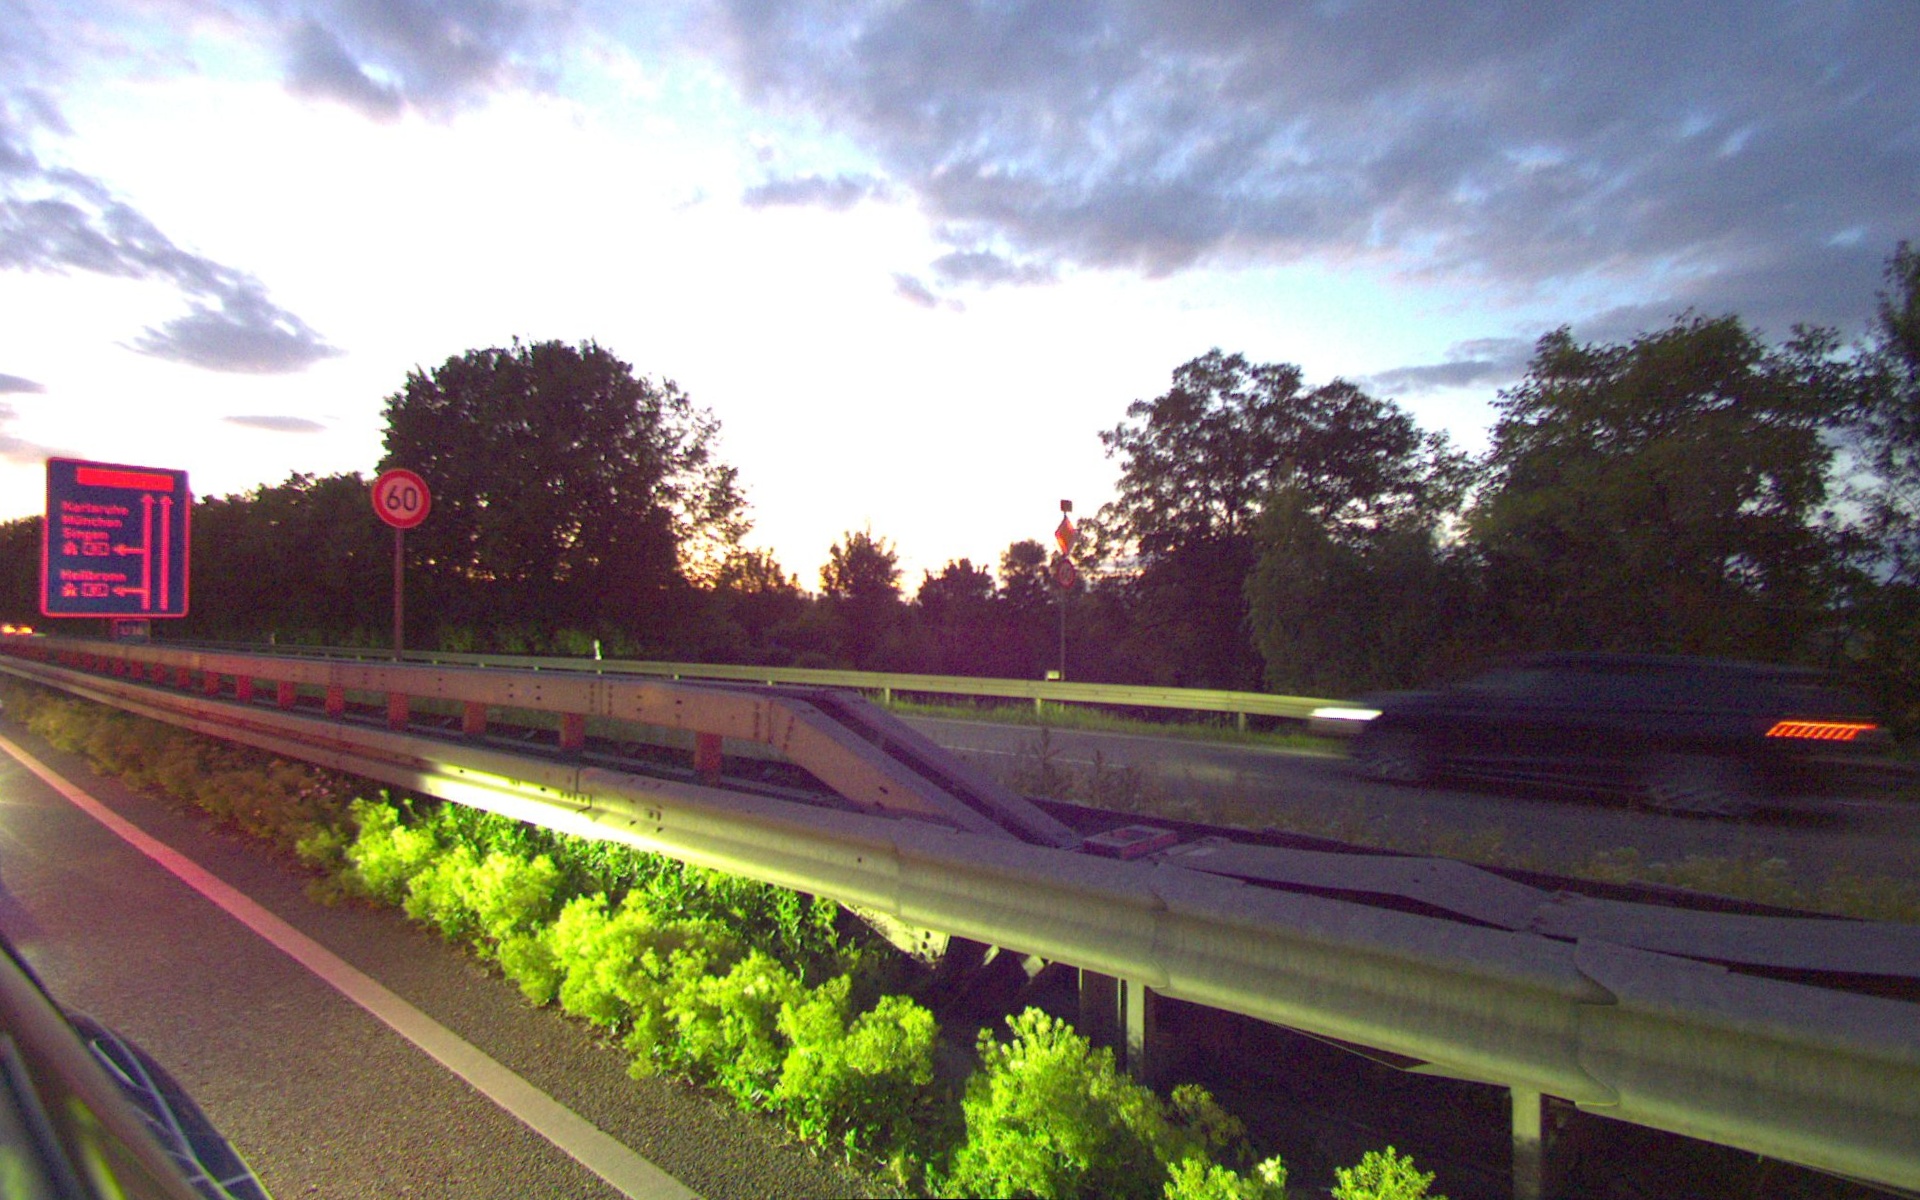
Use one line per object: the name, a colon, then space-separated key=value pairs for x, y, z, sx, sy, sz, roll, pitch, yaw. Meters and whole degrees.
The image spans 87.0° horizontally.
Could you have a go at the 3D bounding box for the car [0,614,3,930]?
car: x=-6.711 y=0.855 z=5.544 sx=4.645 sy=1.447 sz=1.795 roll=-2 pitch=-2 yaw=42

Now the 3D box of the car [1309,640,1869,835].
car: x=6.102 y=1.191 z=10.287 sx=4.592 sy=1.516 sz=1.610 roll=-2 pitch=-3 yaw=44

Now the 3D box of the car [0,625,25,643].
car: x=-87.971 y=3.130 z=93.656 sx=3.998 sy=1.572 sz=1.758 roll=-1 pitch=0 yaw=41
